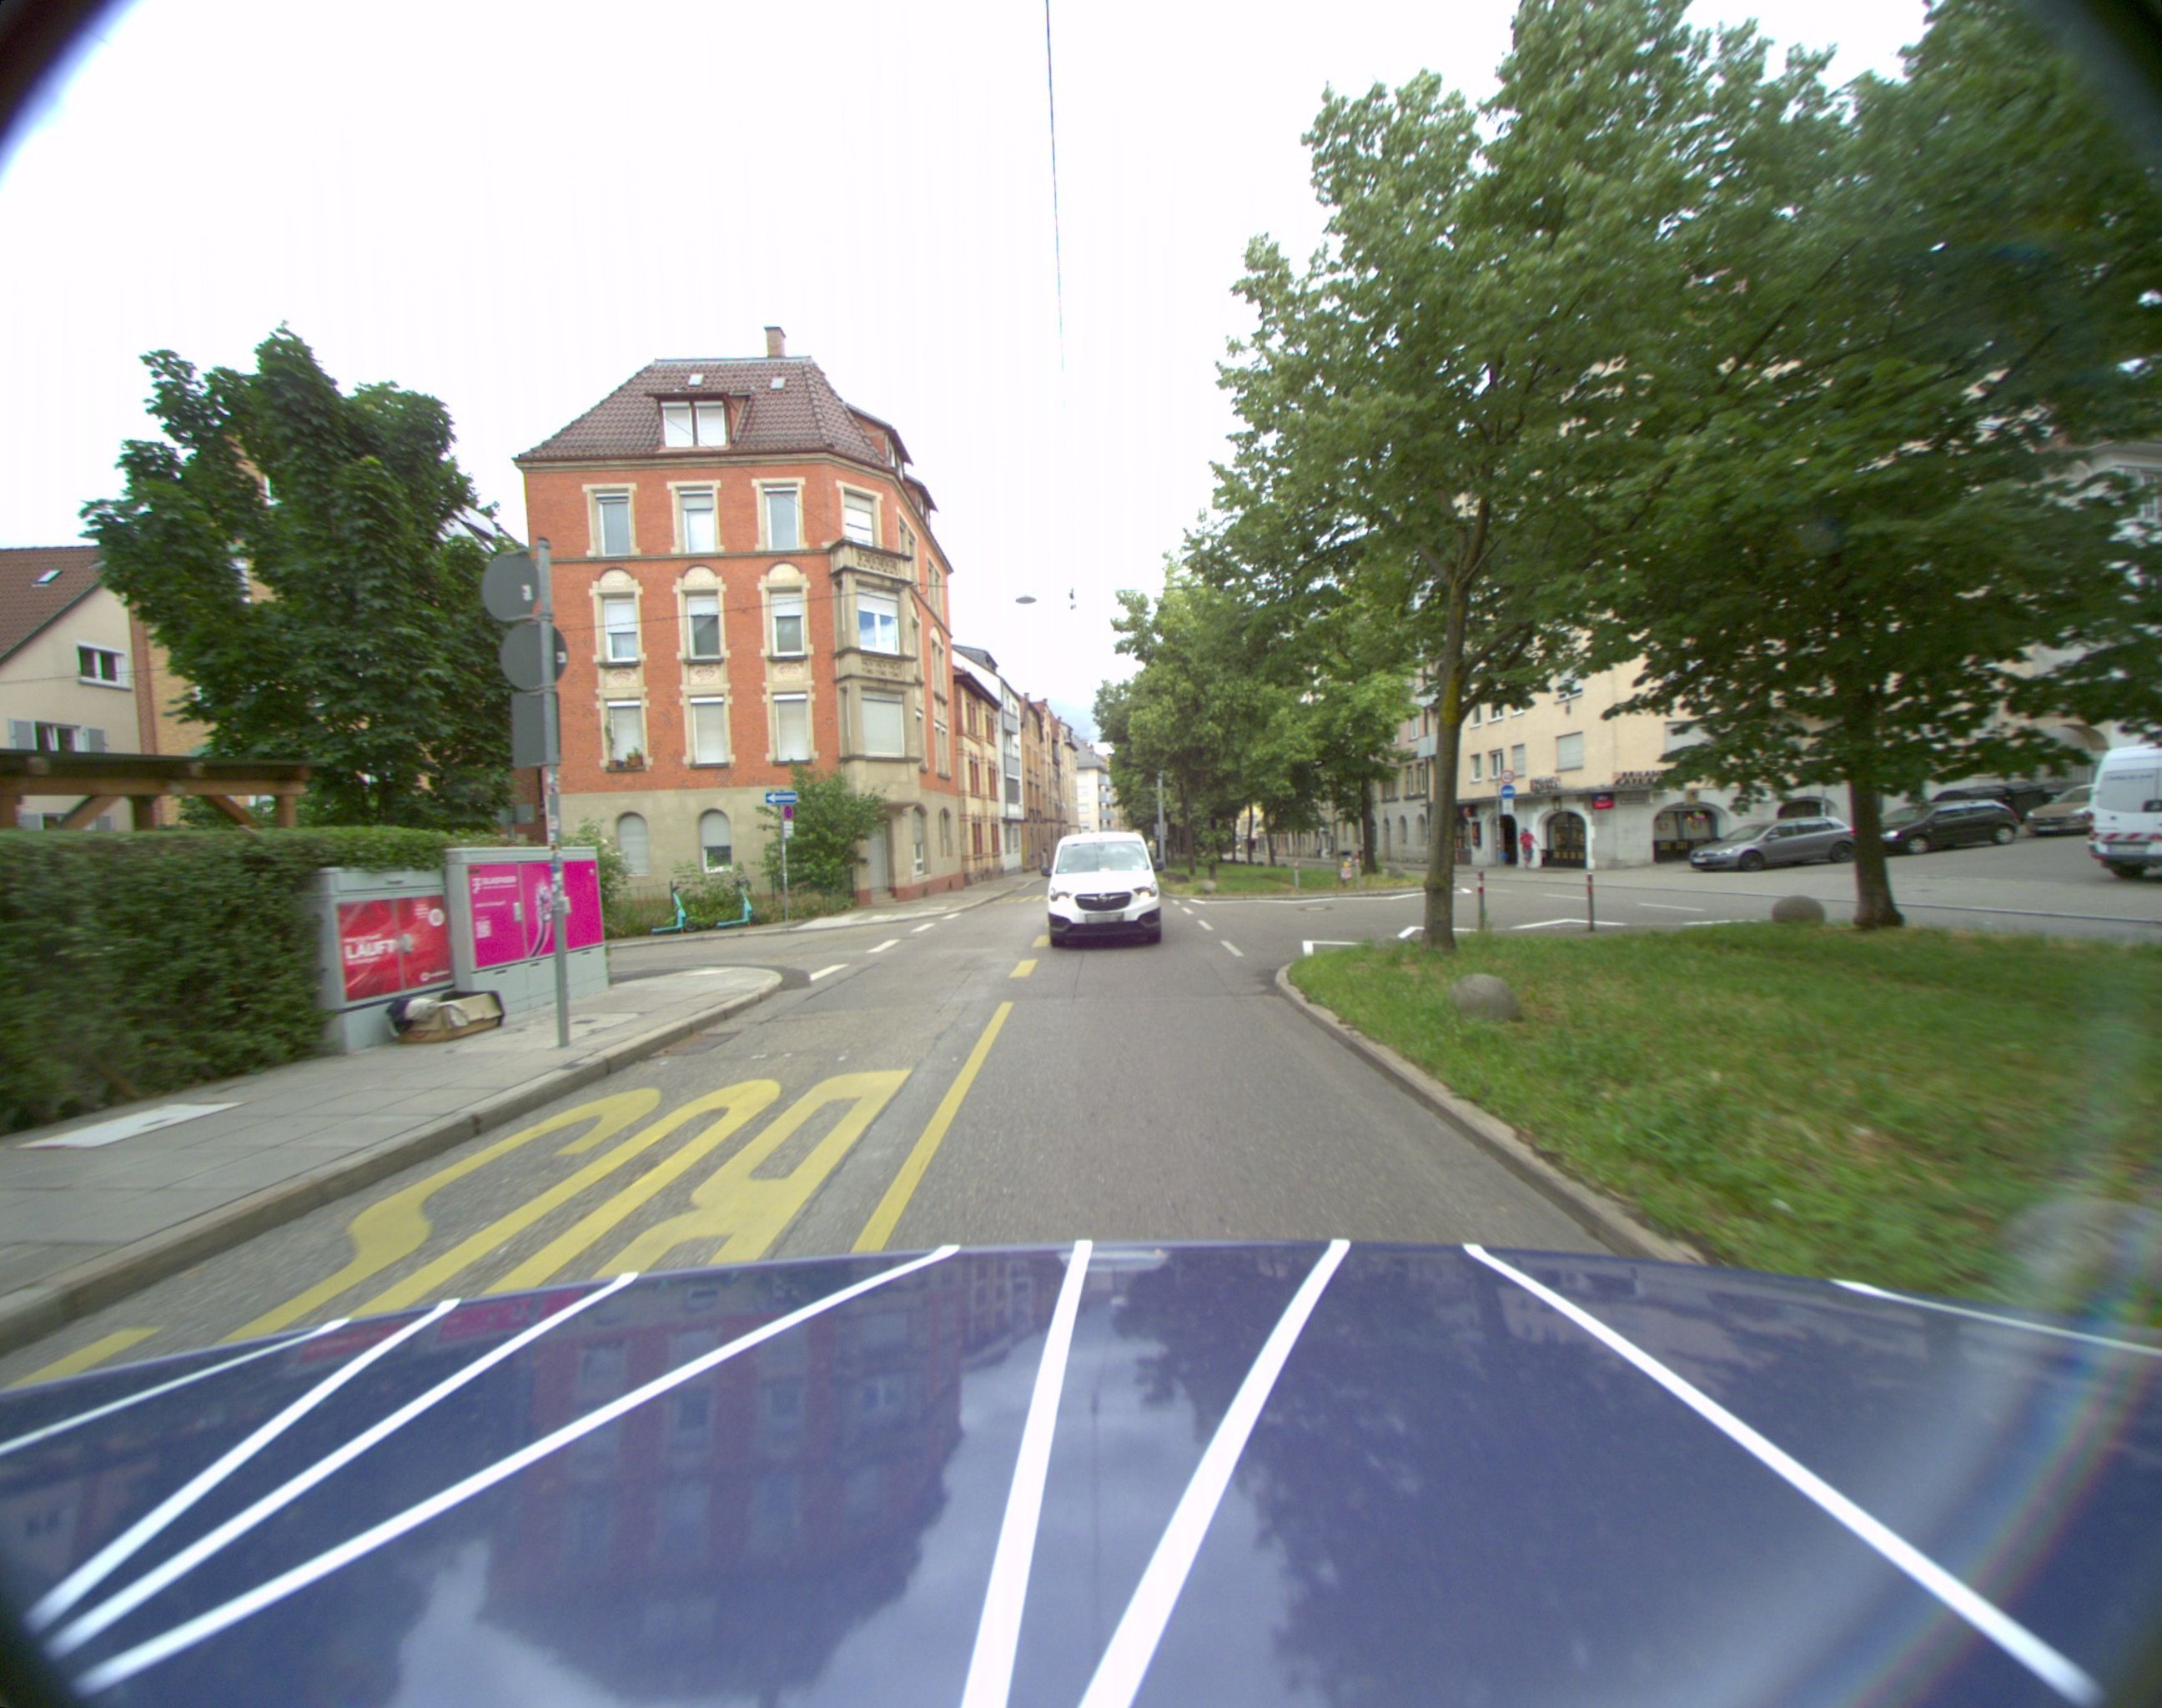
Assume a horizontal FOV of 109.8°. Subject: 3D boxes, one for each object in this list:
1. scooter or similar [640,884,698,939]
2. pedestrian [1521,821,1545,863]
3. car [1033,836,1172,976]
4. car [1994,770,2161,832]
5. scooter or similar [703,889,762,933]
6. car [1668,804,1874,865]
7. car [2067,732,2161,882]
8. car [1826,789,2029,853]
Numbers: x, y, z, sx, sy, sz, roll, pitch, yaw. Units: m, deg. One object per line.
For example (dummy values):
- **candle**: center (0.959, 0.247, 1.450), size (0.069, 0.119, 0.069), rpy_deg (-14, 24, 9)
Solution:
- **scooter or similar**: center (-10.558, 1.468, 19.496), size (1.088, 1.265, 0.415), rpy_deg (-7, 4, 1)
- **pedestrian**: center (18.157, -0.481, 30.516), size (0.533, 1.656, 0.701), rpy_deg (-2, 1, 3)
- **car**: center (0.539, 0.678, 12.337), size (1.744, 1.830, 4.345), rpy_deg (-2, 1, 8)
- **car**: center (31.104, -1.621, 23.200), size (4.040, 1.412, 1.903), rpy_deg (-7, 1, 0)
- **scooter or similar**: center (-8.950, 1.471, 19.538), size (1.237, 1.010, 0.415), rpy_deg (-4, 2, 1)
- **car**: center (21.193, -0.572, 23.503), size (4.298, 1.411, 2.048), rpy_deg (-5, 0, 4)
- **car**: center (22.516, -1.145, 14.523), size (5.189, 2.721, 2.175), rpy_deg (-7, 1, -10)
- **car**: center (25.867, -0.986, 23.319), size (3.998, 1.412, 1.999), rpy_deg (-7, 1, -2)
